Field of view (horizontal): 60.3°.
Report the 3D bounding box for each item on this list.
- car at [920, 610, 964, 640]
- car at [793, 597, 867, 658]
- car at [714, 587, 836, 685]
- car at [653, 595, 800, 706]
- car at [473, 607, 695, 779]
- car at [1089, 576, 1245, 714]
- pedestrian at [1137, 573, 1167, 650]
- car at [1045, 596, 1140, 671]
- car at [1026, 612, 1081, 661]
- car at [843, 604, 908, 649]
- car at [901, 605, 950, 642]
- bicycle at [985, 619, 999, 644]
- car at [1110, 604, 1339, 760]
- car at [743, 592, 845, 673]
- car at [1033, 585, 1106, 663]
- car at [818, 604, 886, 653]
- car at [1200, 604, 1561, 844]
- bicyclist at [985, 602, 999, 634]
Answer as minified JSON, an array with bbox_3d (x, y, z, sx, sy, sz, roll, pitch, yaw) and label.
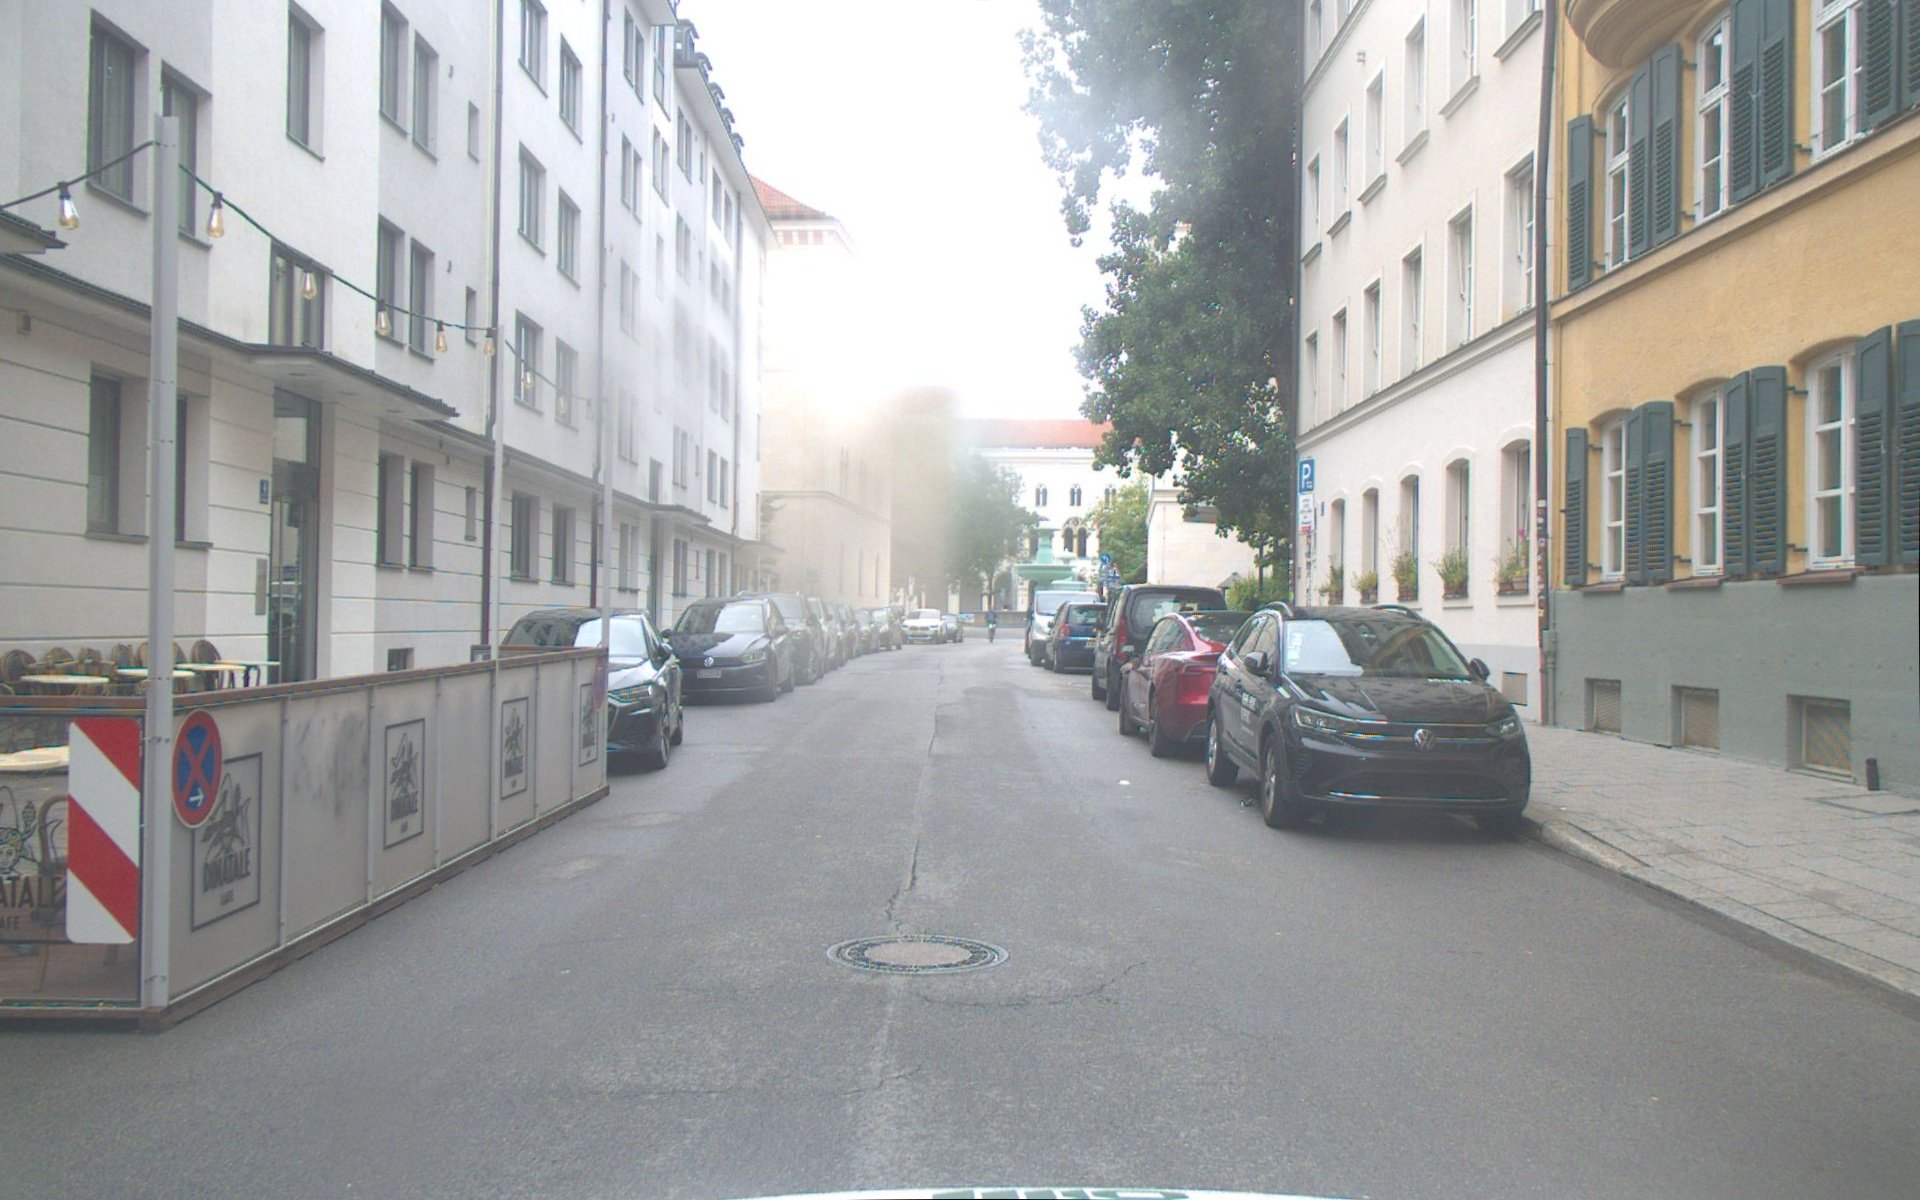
[{"bbox_3d":[-0.833,1.236,80.492,1.662,1.417,4.214,-1,-1,6],"label":"car"},{"bbox_3d":[-3.773,0.776,48.701,1.834,1.687,4.080,-1,0,0],"label":"car"},{"bbox_3d":[-3.458,0.623,31.678,1.834,1.717,4.520,-1,0,-1],"label":"car"},{"bbox_3d":[-3.571,0.720,25.964,1.737,1.566,4.158,-1,0,-1],"label":"car"},{"bbox_3d":[-3.480,0.783,15.936,1.607,1.378,4.053,-1,0,-6],"label":"car"},{"bbox_3d":[3.012,0.643,24.840,1.809,1.807,4.201,3,-1,1],"label":"car"},{"bbox_3d":[5.684,0.338,48.991,0.777,2.236,0.813,1,0,0],"label":"pedestrian"},{"bbox_3d":[3.050,0.746,38.863,1.771,1.628,4.214,1,0,-2],"label":"car"},{"bbox_3d":[2.971,1.106,52.175,1.638,1.442,4.203,1,0,4],"label":"car"},{"bbox_3d":[-2.978,0.913,58.881,1.713,1.479,4.018,-1,0,6],"label":"car"},{"bbox_3d":[-1.520,1.073,74.133,1.741,1.562,4.213,-1,-1,4],"label":"car"},{"bbox_3d":[1.596,1.544,81.804,0.635,1.218,1.951,0,-1,2],"label":"bicycle"},{"bbox_3d":[2.704,0.791,17.857,1.678,1.449,4.456,1,0,-1],"label":"car"},{"bbox_3d":[-3.653,0.668,37.172,1.834,1.687,4.590,-1,0,-1],"label":"car"},{"bbox_3d":[2.911,0.626,44.788,1.843,1.958,4.876,1,0,2],"label":"car"},{"bbox_3d":[-3.509,0.913,54.130,1.714,1.479,4.017,-1,0,3],"label":"car"},{"bbox_3d":[2.953,0.790,12.467,1.710,1.489,4.000,0,0,0],"label":"car"},{"bbox_3d":[1.581,0.875,81.981,0.643,1.578,0.888,0,-1,3],"label":"bicyclist"}]
